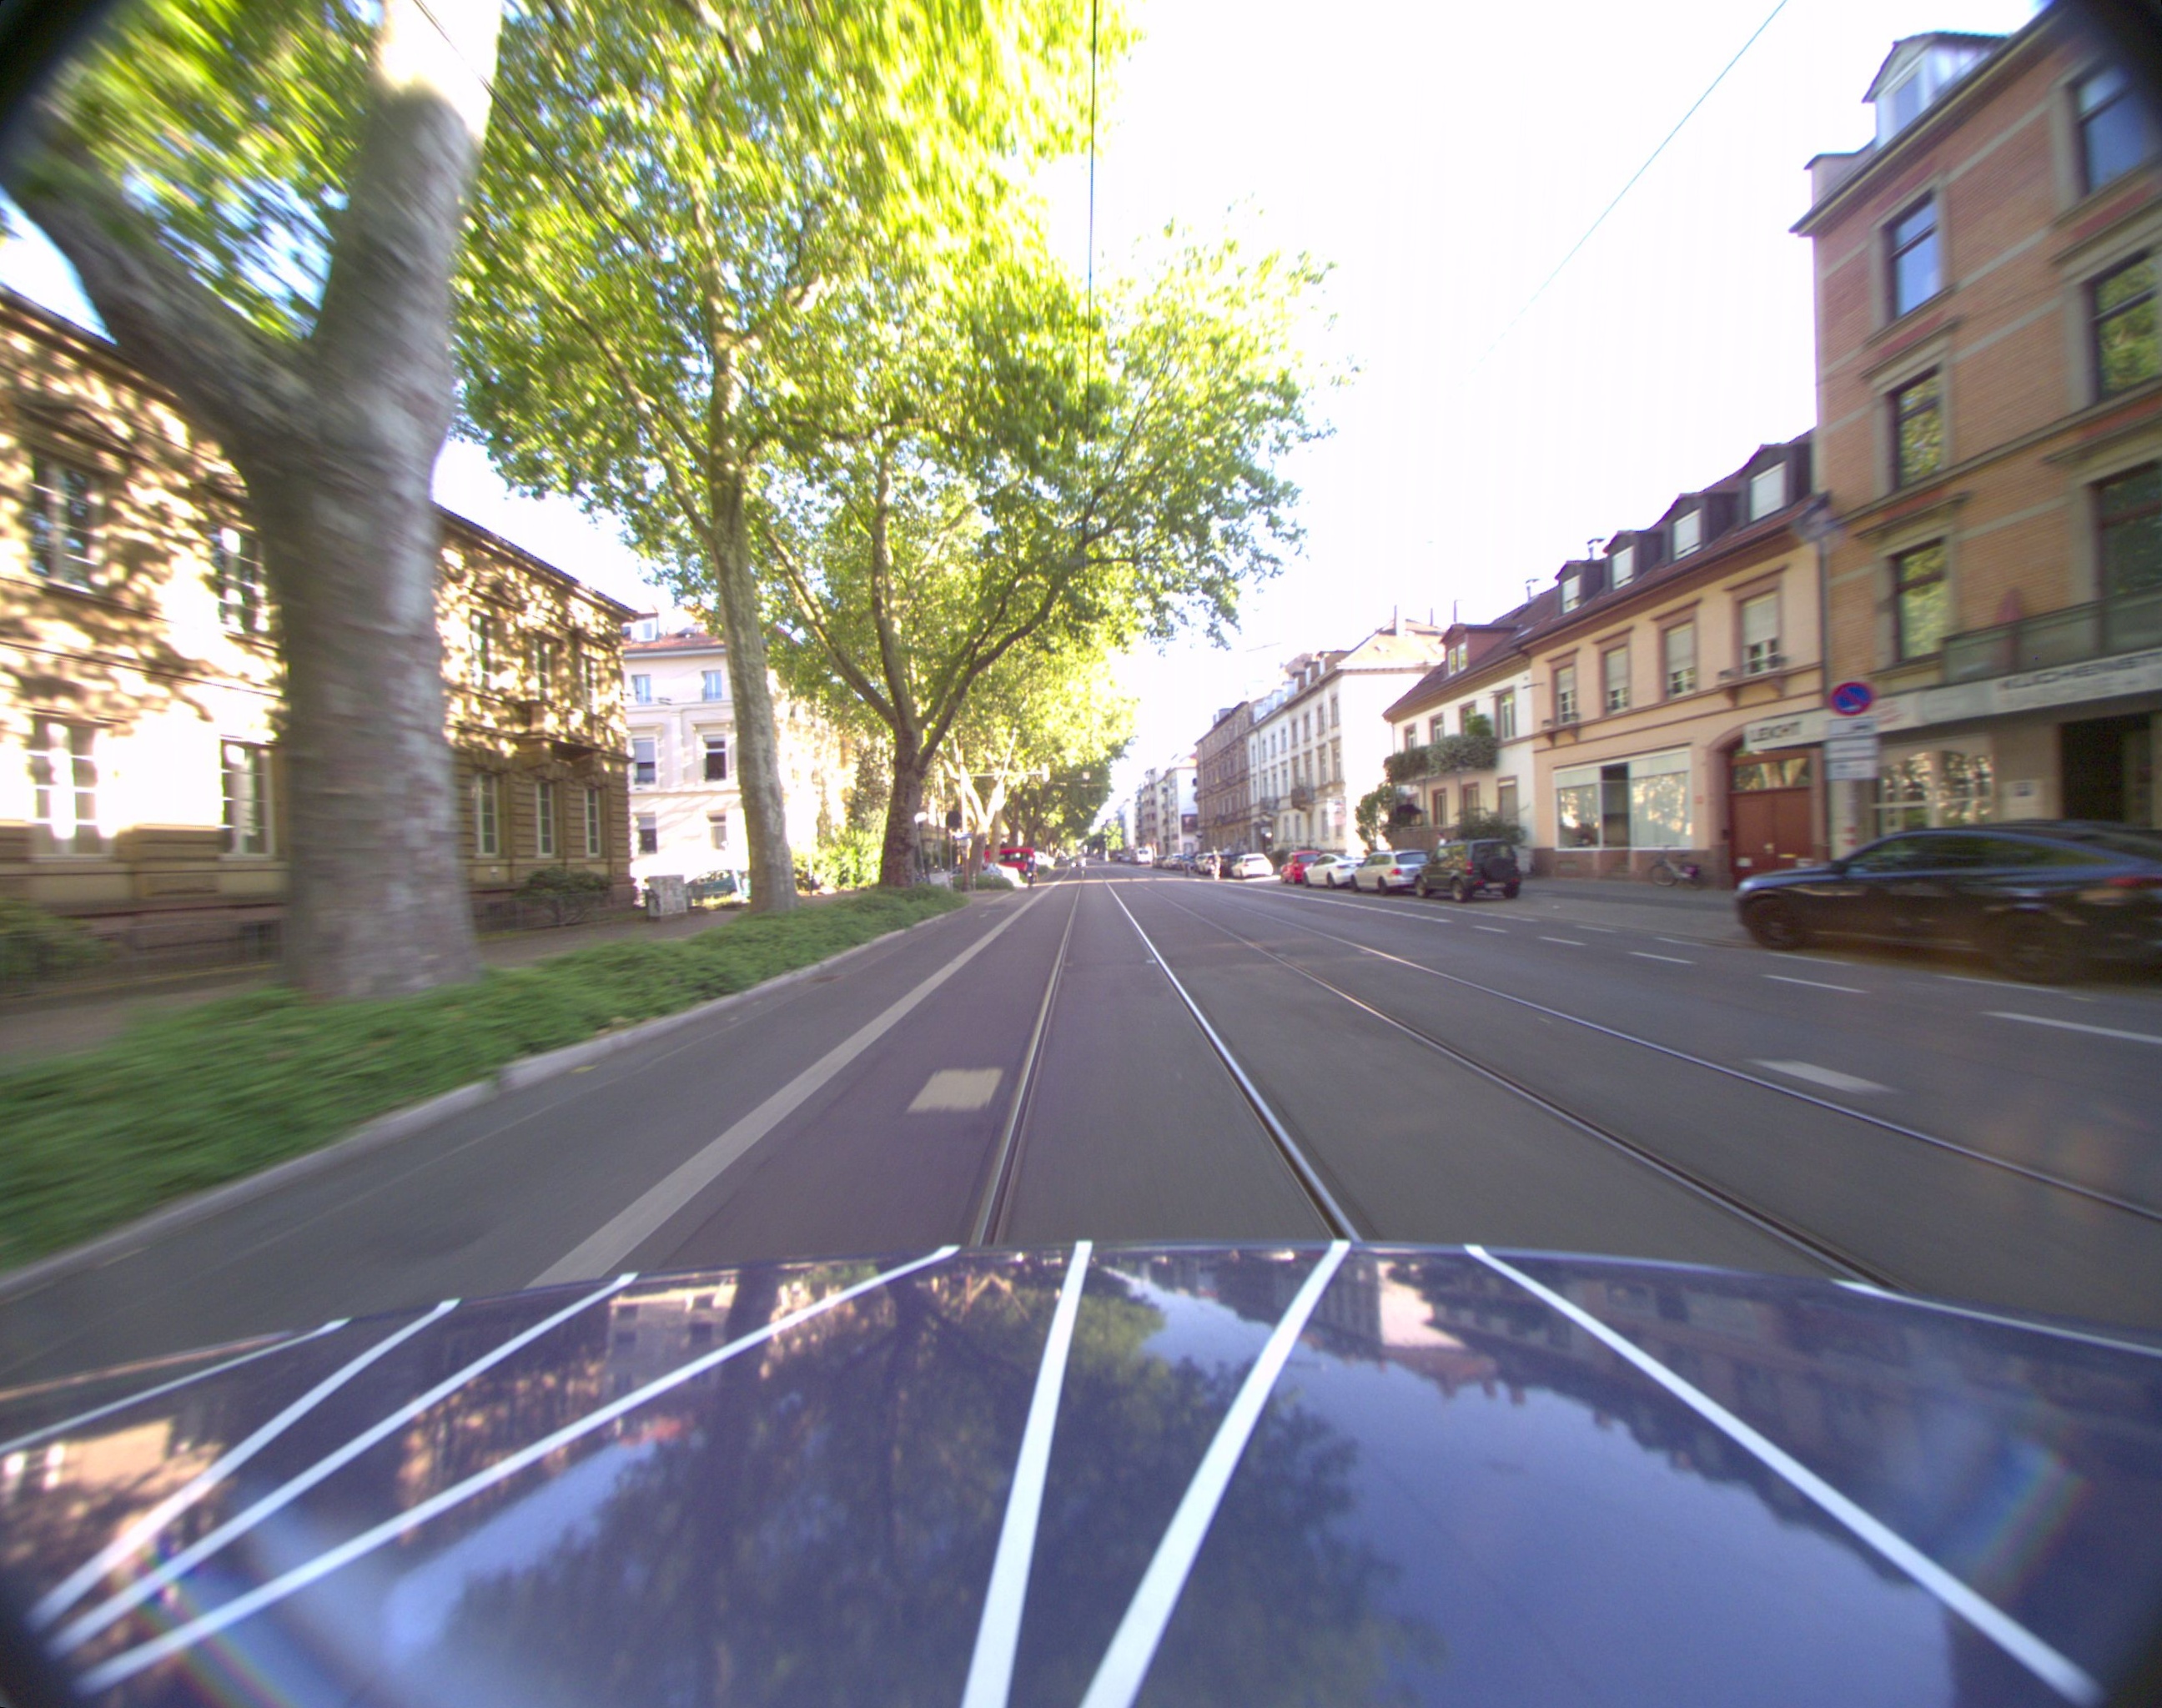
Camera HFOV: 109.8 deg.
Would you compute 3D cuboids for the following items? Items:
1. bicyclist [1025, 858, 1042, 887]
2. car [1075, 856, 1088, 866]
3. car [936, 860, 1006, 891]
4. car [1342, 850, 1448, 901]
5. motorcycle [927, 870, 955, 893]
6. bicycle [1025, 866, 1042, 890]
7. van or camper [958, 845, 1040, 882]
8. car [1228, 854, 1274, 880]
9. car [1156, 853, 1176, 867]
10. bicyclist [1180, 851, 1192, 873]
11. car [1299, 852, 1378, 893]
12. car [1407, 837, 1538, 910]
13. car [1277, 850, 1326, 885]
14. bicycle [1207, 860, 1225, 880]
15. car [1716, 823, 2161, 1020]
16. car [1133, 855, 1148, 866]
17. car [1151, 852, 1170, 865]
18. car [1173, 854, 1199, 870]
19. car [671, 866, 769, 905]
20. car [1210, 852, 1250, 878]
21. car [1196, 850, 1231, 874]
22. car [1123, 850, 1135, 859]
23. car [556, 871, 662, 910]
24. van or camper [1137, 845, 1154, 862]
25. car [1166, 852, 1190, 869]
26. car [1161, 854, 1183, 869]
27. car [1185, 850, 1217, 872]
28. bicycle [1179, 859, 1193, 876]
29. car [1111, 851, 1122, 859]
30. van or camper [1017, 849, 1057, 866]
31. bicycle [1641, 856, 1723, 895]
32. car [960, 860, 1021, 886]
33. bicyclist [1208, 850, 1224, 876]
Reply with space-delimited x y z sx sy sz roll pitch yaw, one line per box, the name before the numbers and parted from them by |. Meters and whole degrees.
bicyclist | -2.387 0.925 38.353 0.714 1.435 0.954 -2 0 2
car | 0.083 1.061 112.031 1.740 1.365 3.918 -4 0 -1
car | -6.184 1.179 43.120 3.677 1.534 1.614 -2 3 0
car | 10.565 0.673 25.947 1.668 1.446 4.404 -5 0 -1
motorcycle | -6.822 1.323 37.024 1.274 1.048 0.394 -2 1 -37
bicycle | -2.380 1.209 38.334 0.715 1.131 2.120 -2 0 0
van or camper | -6.115 0.686 57.330 5.928 2.484 2.219 -2 3 -2
car | 10.432 0.747 46.916 1.868 1.423 4.083 -4 0 0
car | 9.901 0.714 88.620 1.808 1.534 3.918 -4 0 -1
bicyclist | 7.261 0.548 52.638 0.714 1.508 0.954 -2 1 2
car | 10.484 0.710 31.251 1.587 1.482 4.470 -4 0 -1
car | 10.887 0.498 21.425 1.729 1.736 3.625 -5 0 0
car | 10.581 0.623 36.661 1.422 1.502 3.326 -4 0 2
bicycle | 8.081 0.930 45.484 0.715 1.131 2.120 -2 0 0
car | 10.876 0.600 9.331 1.999 1.693 4.750 -5 0 -1
car | 9.374 0.964 119.635 1.808 1.534 3.918 -4 0 -1
car | 9.808 0.533 93.860 1.808 1.534 3.918 -4 0 -1
car | 9.970 0.697 72.470 1.798 1.368 4.083 -4 0 0
car | -16.563 1.425 34.973 3.572 1.534 1.736 -2 3 0
car | 10.136 0.710 52.056 1.798 1.587 4.083 -4 0 0
car | 9.961 0.606 57.370 1.798 1.630 4.254 -4 0 0
car | 9.370 0.146 149.633 1.808 1.534 3.918 -4 0 -2
car | -21.801 1.658 35.205 3.707 1.534 1.736 -2 3 0
van or camper | 9.620 -0.061 113.733 1.945 2.267 4.597 -4 0 -1
car | 9.916 0.629 77.771 1.798 1.617 4.083 -4 0 0
car | 10.027 0.790 83.569 1.798 1.473 4.083 -4 0 0
car | 10.010 0.586 63.603 1.798 1.630 4.575 -4 0 0
bicycle | 7.268 0.920 52.566 0.714 1.131 2.120 -2 0 2
car | 7.627 0.270 164.347 1.808 1.534 3.918 -4 0 -2
van or camper | -6.766 0.510 117.496 6.099 2.417 2.428 -2 0 0
bicycle | 15.978 0.542 20.271 0.505 0.963 2.120 -2 0 0
car | -5.707 1.208 48.264 3.677 1.410 1.614 -2 3 0
bicyclist | 8.059 0.519 45.431 0.715 1.508 0.954 -2 1 0
